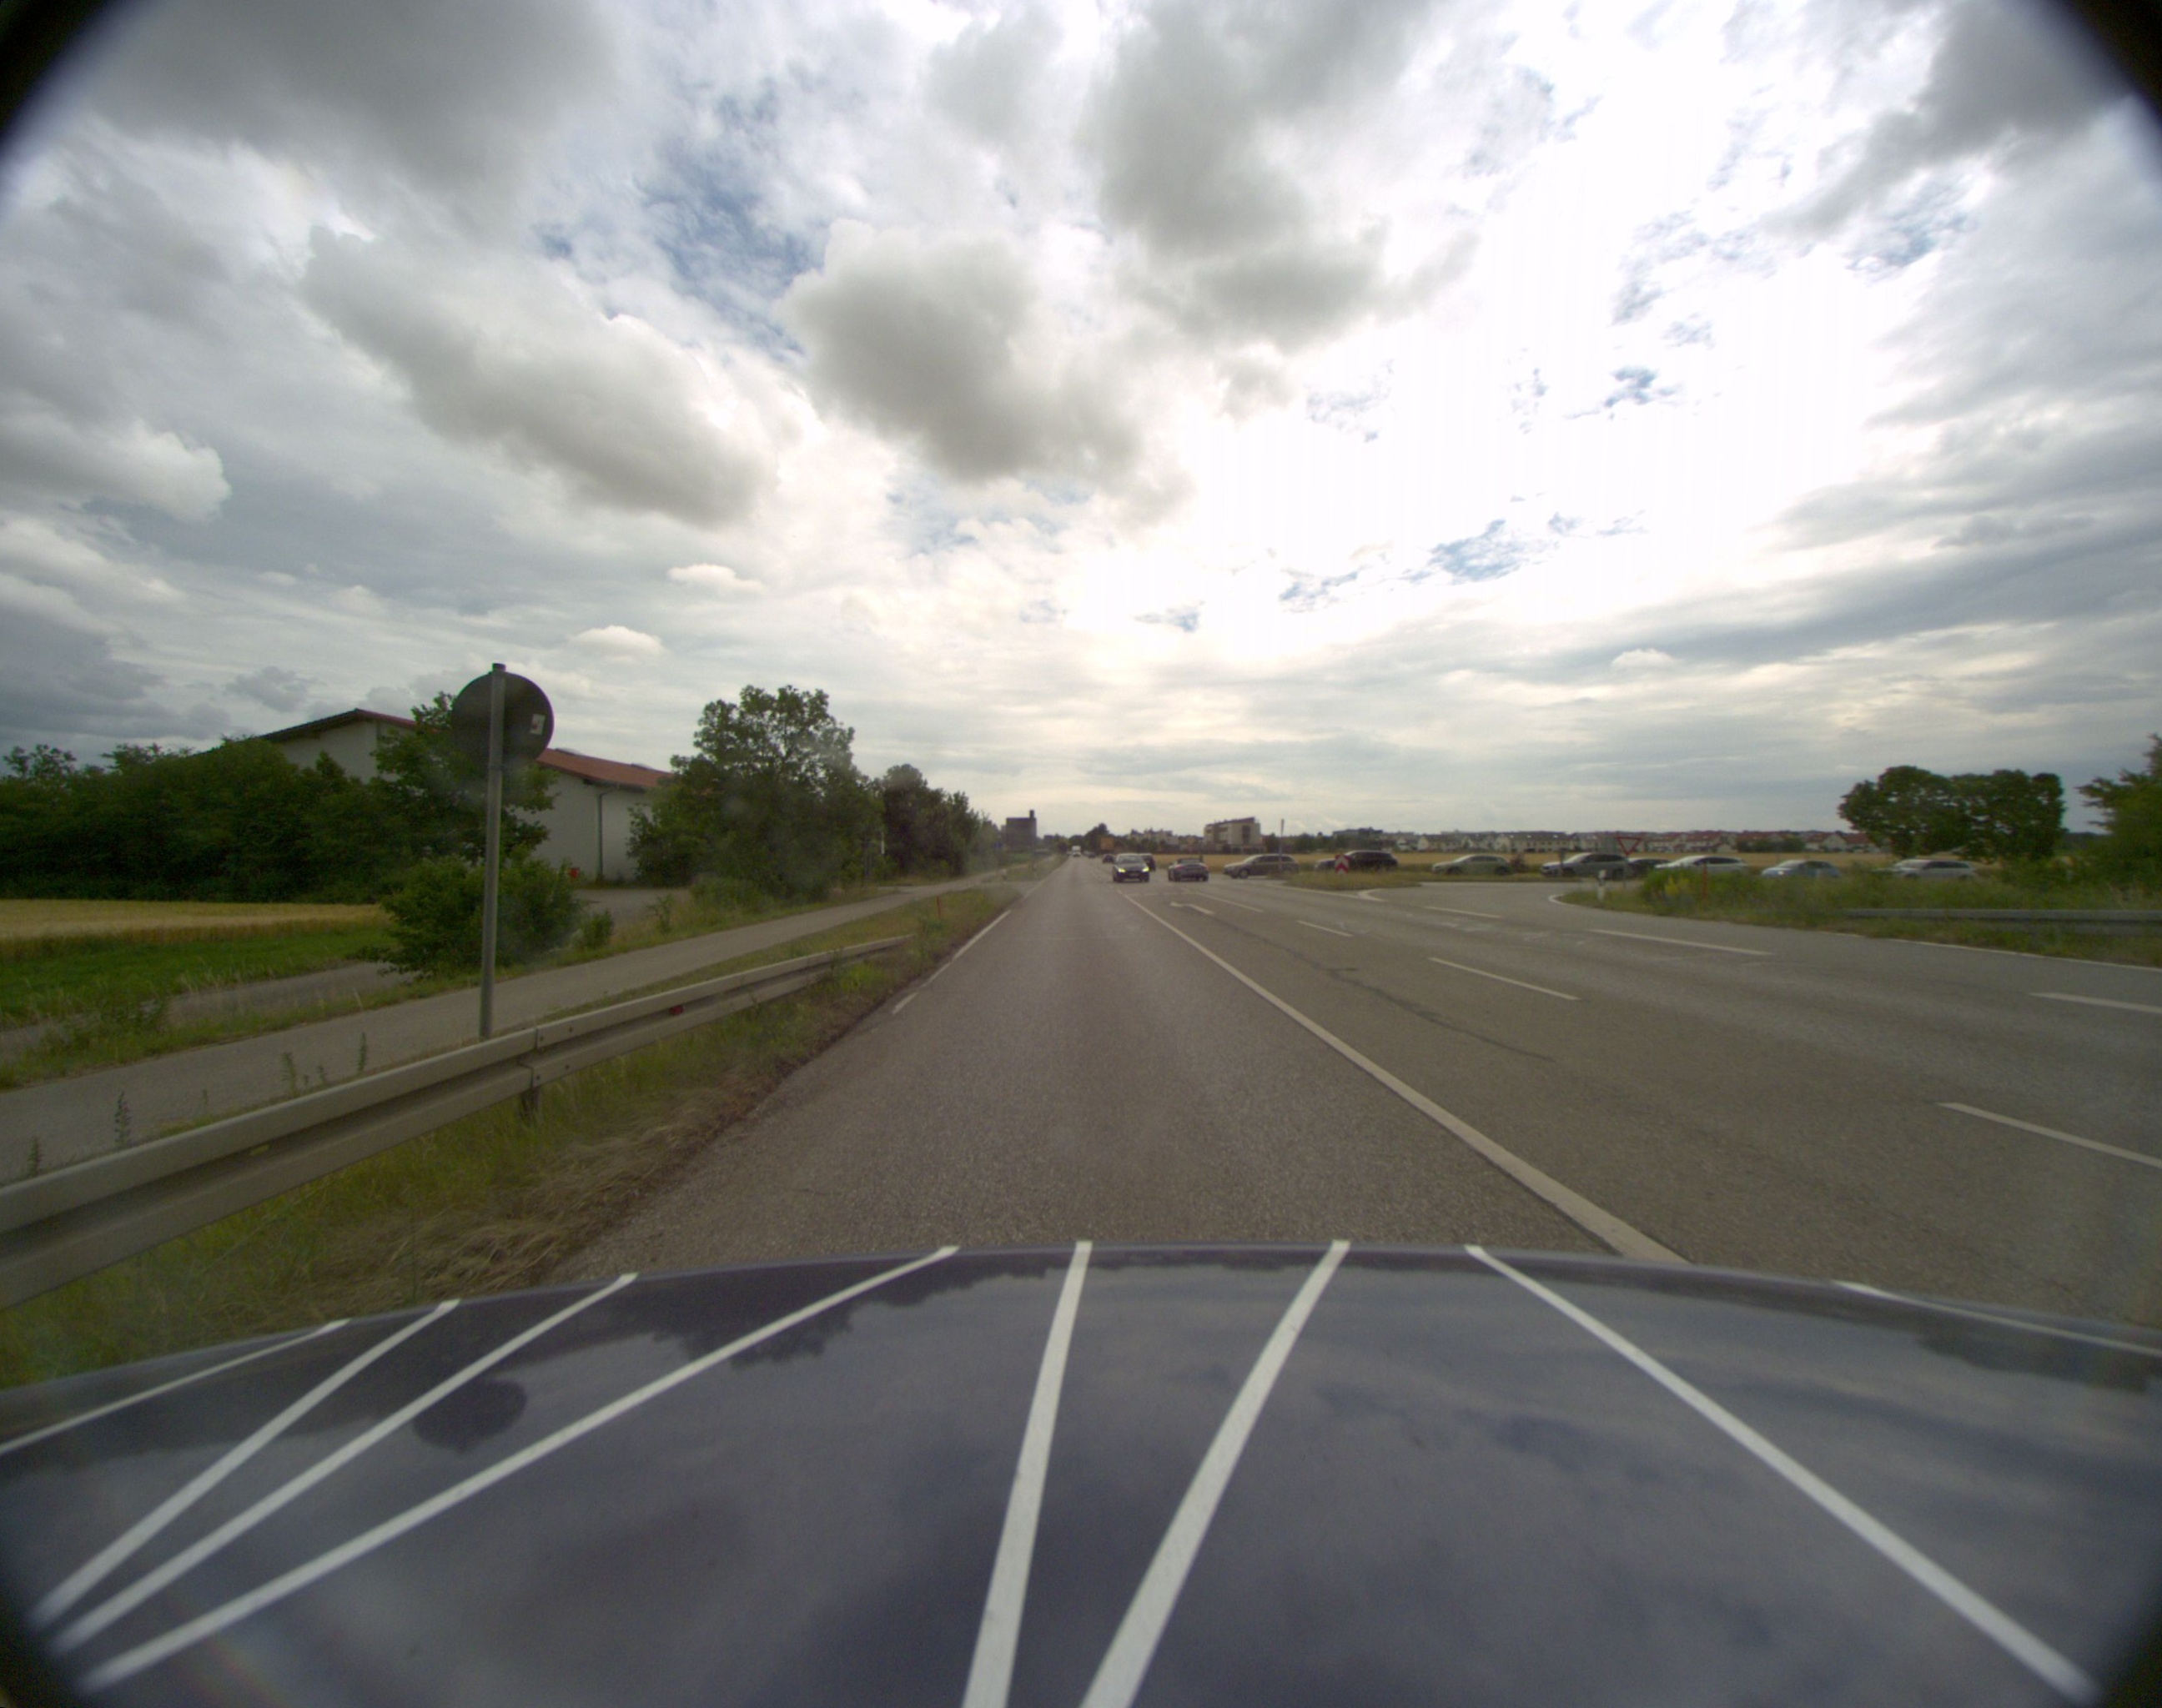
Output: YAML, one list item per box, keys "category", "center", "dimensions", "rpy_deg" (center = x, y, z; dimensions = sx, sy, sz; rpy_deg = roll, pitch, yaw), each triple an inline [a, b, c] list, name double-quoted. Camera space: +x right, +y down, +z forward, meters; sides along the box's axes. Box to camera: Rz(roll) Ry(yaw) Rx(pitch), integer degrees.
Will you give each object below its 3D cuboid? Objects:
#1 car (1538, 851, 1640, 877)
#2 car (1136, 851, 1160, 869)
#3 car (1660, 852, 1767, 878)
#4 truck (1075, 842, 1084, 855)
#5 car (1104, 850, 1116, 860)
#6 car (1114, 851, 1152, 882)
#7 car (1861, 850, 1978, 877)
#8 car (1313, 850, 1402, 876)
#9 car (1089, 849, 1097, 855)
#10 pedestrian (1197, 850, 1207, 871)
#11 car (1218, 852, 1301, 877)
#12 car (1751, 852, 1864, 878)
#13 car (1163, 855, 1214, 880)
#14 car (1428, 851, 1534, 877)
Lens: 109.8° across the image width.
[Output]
- category: "car"
  center: [30.057, 0.582, 45.070]
  dimensions: [4.633, 1.508, 1.912]
  rpy_deg: [0, 1, 6]
- category: "car"
  center: [5.933, 0.560, 67.774]
  dimensions: [1.746, 1.521, 4.198]
  rpy_deg: [-1, 0, -1]
- category: "car"
  center: [36.639, 0.624, 44.120]
  dimensions: [4.500, 1.474, 1.912]
  rpy_deg: [0, 1, 6]
- category: "truck"
  center: [-0.418, -1.634, 226.907]
  dimensions: [2.813, 3.588, 11.218]
  rpy_deg: [0, 0, 0]
- category: "car"
  center: [4.569, 0.082, 121.216]
  dimensions: [1.683, 1.512, 4.395]
  rpy_deg: [-2, 1, 0]
- category: "car"
  center: [2.954, 0.667, 43.812]
  dimensions: [1.707, 1.602, 4.481]
  rpy_deg: [-2, 0, -1]
- category: "car"
  center: [48.138, 0.544, 43.698]
  dimensions: [4.501, 1.474, 1.911]
  rpy_deg: [0, 1, 3]
- category: "car"
  center: [16.649, 0.545, 45.950]
  dimensions: [4.749, 1.523, 1.912]
  rpy_deg: [0, 1, 6]
- category: "car"
  center: [3.027, -0.403, 191.110]
  dimensions: [1.740, 1.450, 4.130]
  rpy_deg: [-1, 1, -2]
- category: "pedestrian"
  center: [9.859, 0.525, 61.835]
  dimensions: [0.595, 1.596, 0.866]
  rpy_deg: [2, 1, -3]
- category: "car"
  center: [10.667, 0.604, 45.527]
  dimensions: [4.465, 1.416, 1.909]
  rpy_deg: [0, 1, -8]
- category: "car"
  center: [41.989, 0.617, 44.021]
  dimensions: [4.500, 1.474, 1.912]
  rpy_deg: [0, 1, 6]
- category: "car"
  center: [6.074, 0.733, 43.425]
  dimensions: [2.170, 1.277, 4.236]
  rpy_deg: [-2, 0, -1]
- category: "car"
  center: [23.888, 0.595, 45.546]
  dimensions: [5.295, 1.512, 1.912]
  rpy_deg: [0, 1, 6]
